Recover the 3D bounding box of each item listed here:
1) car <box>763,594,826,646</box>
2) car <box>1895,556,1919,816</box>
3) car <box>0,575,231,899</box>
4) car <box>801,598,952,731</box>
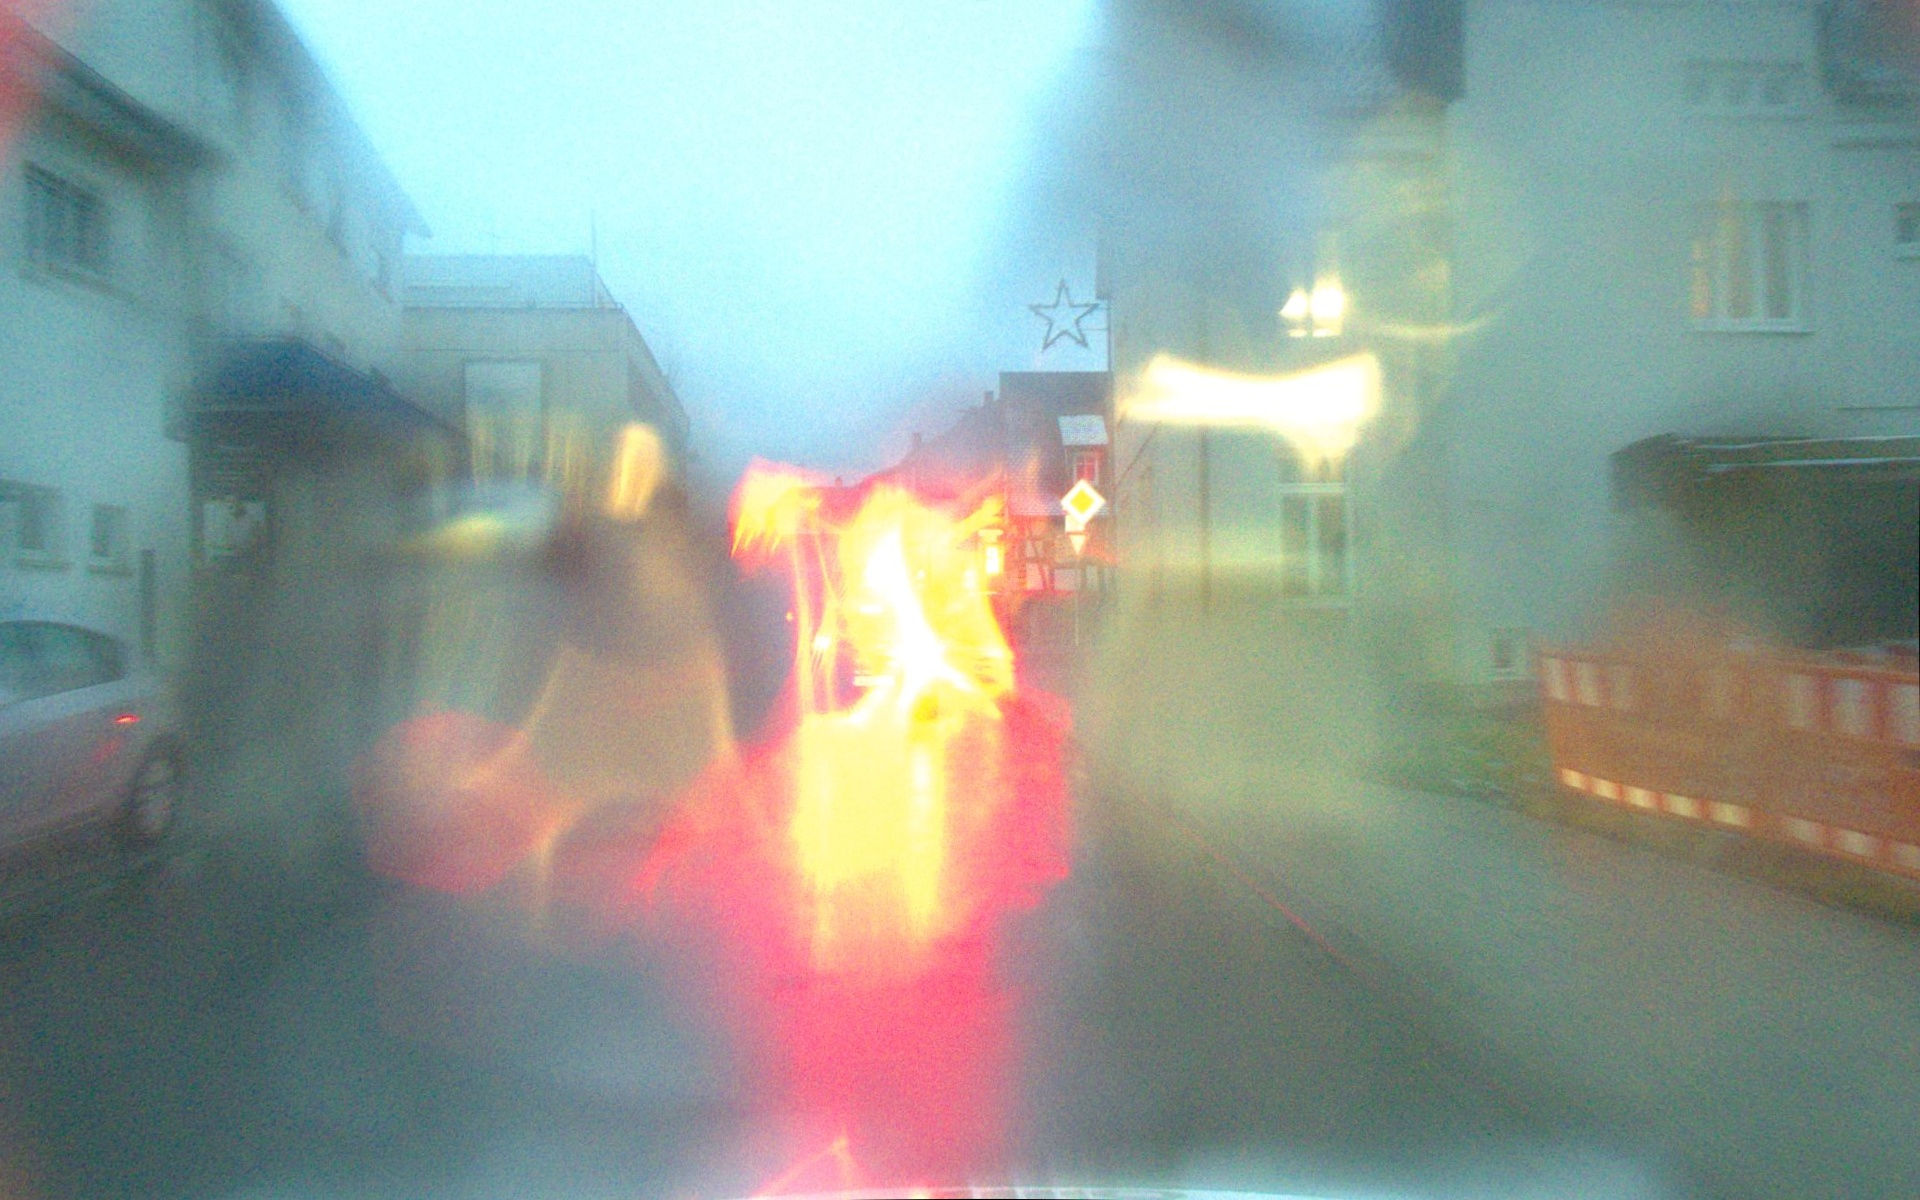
[{"bbox_3d":[-5.359,0.612,53.872,1.954,1.616,3.996,0,0,-5],"label":"car"},{"bbox_3d":[6.597,0.486,7.962,1.851,1.488,3.627,-1,0,-7],"label":"car"},{"bbox_3d":[-5.786,0.688,8.590,1.873,1.555,4.547,4,1,0],"label":"car"},{"bbox_3d":[-1.157,0.769,21.634,1.779,1.560,3.996,0,0,-5],"label":"car"}]
